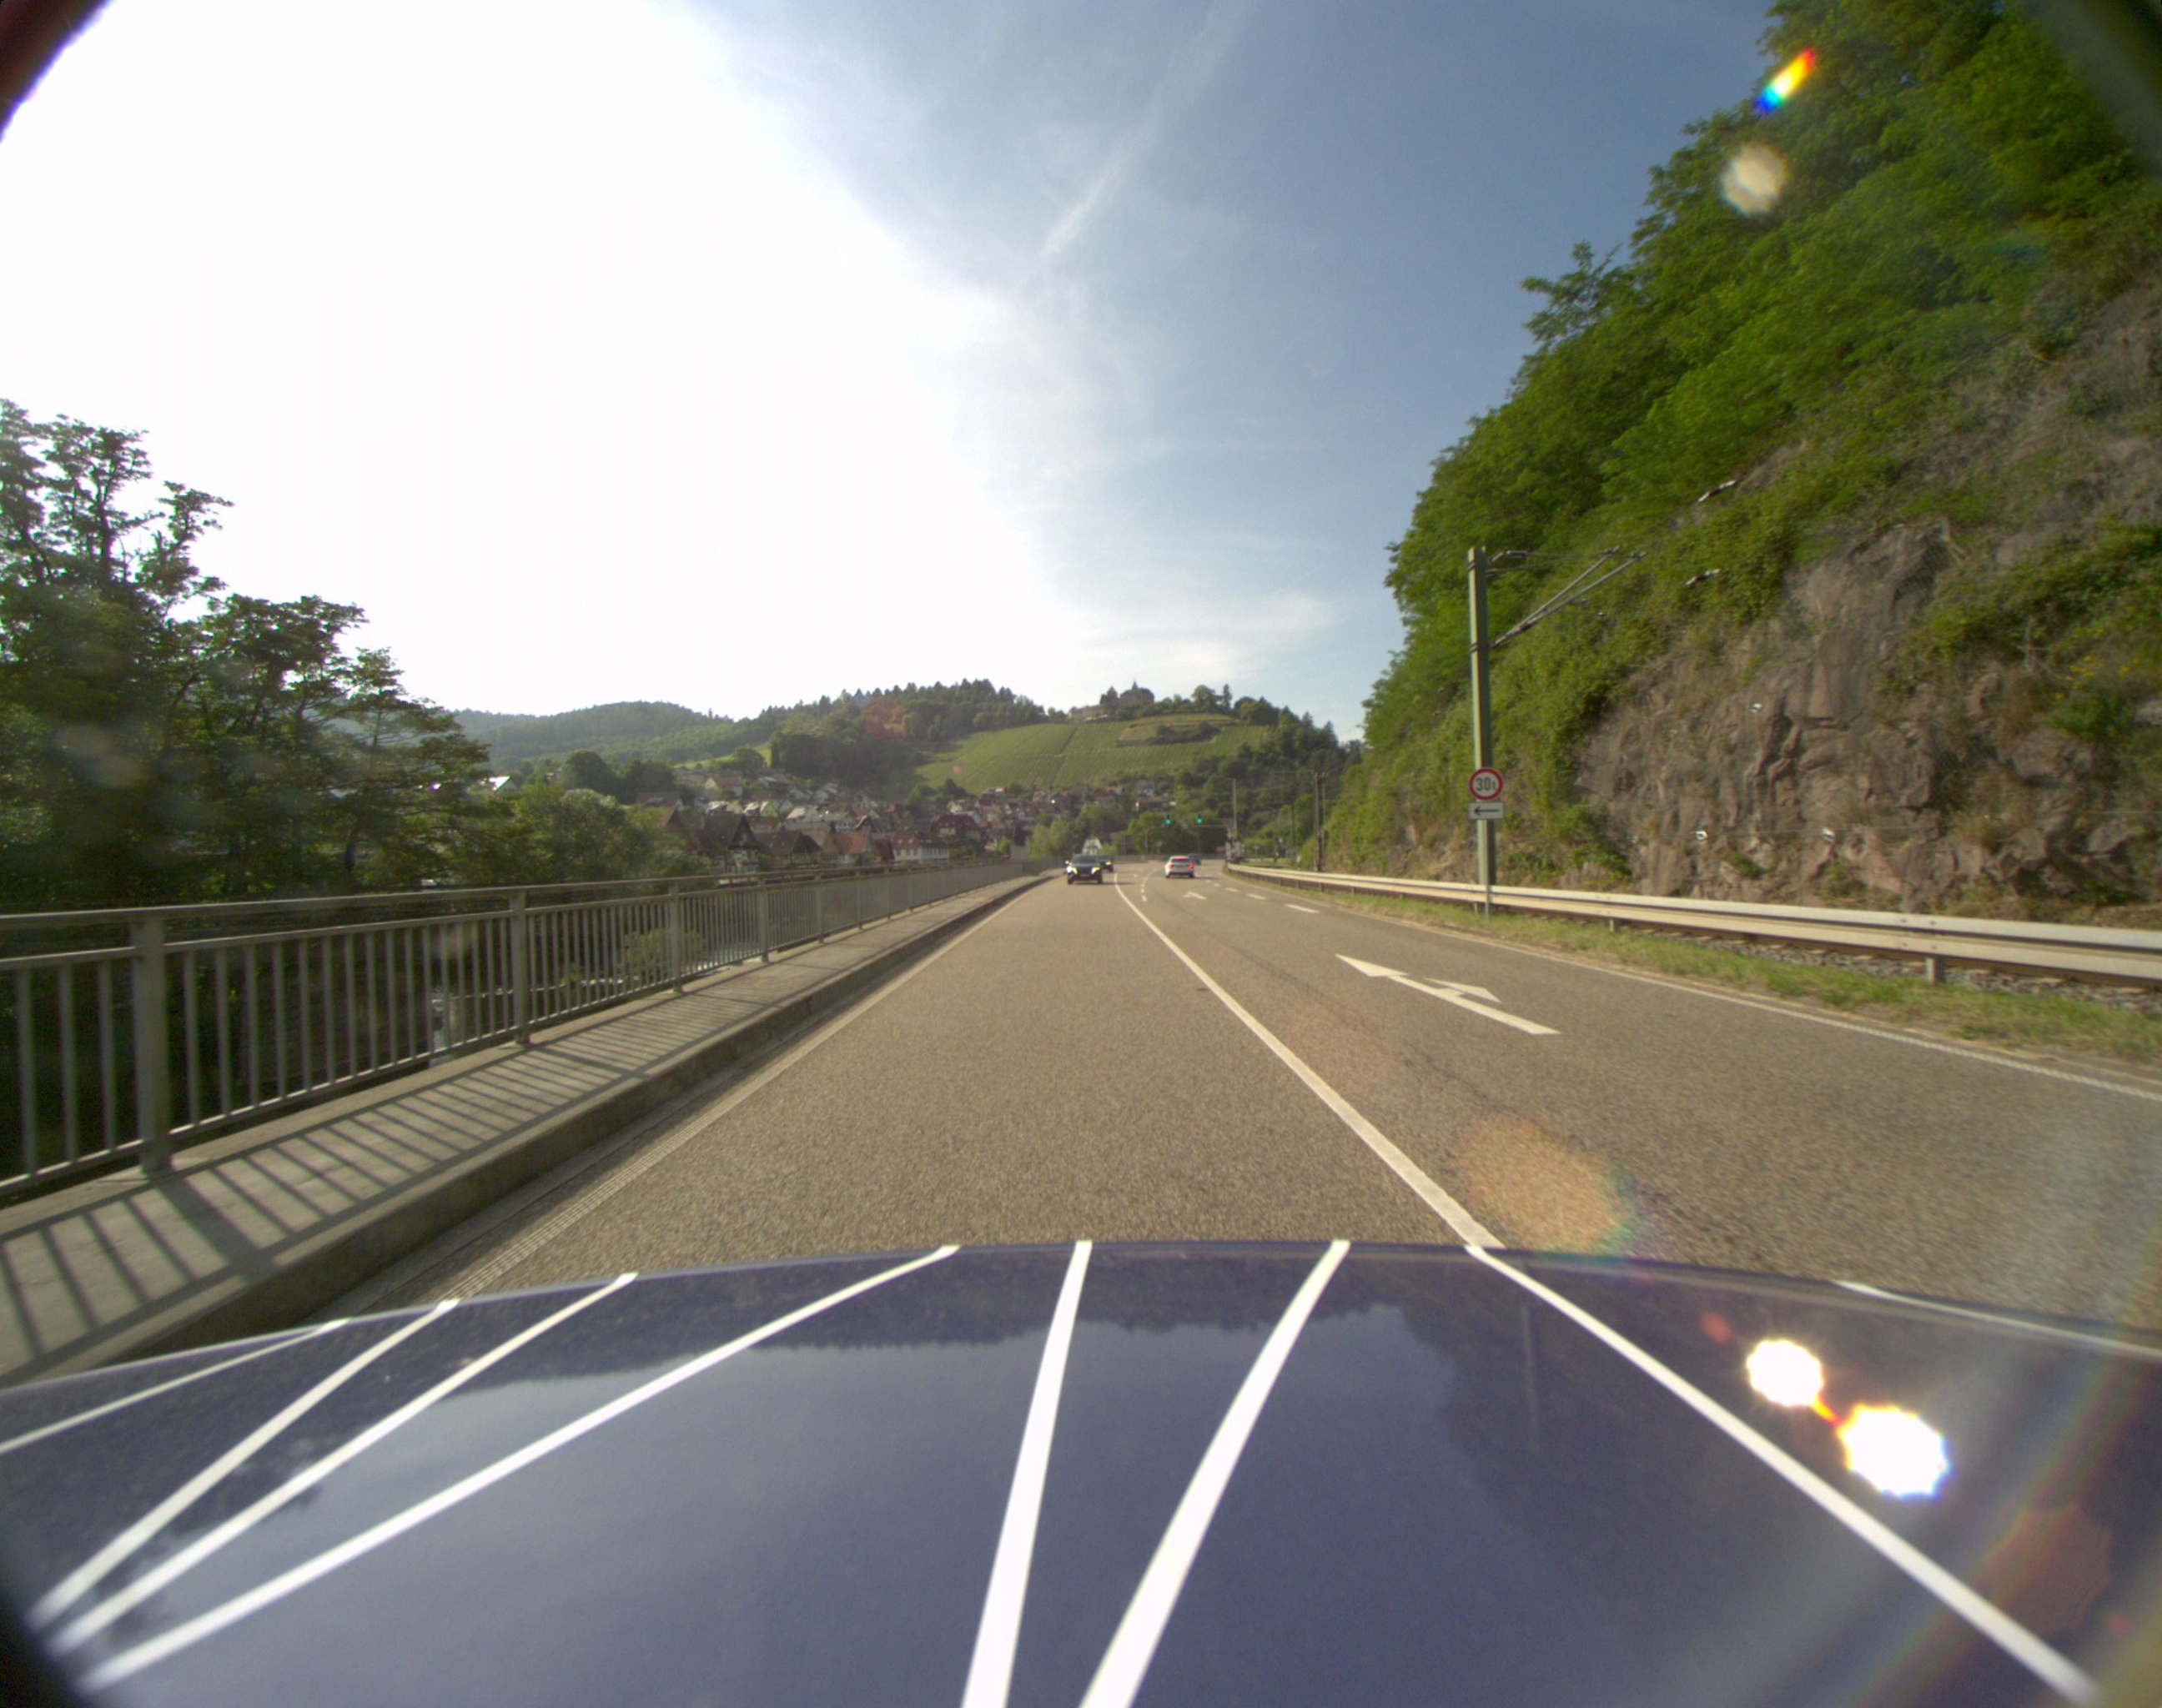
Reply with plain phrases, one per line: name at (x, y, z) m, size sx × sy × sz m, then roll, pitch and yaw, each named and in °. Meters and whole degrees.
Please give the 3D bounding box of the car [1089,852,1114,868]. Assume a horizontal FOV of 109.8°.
car at (1.826, 0.505, 67.926) m, size 1.998 × 1.384 × 4.001 m, roll -1°, pitch 0°, yaw 5°

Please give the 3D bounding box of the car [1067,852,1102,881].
car at (0.159, 0.686, 43.565) m, size 1.863 × 1.576 × 3.999 m, roll -1°, pitch 0°, yaw -1°

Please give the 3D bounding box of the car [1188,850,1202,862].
car at (15.982, 0.293, 106.827) m, size 1.722 × 1.561 × 4.137 m, roll -2°, pitch 0°, yaw 6°

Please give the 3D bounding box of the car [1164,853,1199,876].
car at (6.733, 0.697, 51.376) m, size 2.068 × 1.431 × 4.687 m, roll -1°, pitch 0°, yaw 4°

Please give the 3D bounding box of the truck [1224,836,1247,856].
truck at (29.979, -1.510, 147.419) m, size 2.900 × 3.776 × 8.907 m, roll 0°, pitch 0°, yaw 21°
